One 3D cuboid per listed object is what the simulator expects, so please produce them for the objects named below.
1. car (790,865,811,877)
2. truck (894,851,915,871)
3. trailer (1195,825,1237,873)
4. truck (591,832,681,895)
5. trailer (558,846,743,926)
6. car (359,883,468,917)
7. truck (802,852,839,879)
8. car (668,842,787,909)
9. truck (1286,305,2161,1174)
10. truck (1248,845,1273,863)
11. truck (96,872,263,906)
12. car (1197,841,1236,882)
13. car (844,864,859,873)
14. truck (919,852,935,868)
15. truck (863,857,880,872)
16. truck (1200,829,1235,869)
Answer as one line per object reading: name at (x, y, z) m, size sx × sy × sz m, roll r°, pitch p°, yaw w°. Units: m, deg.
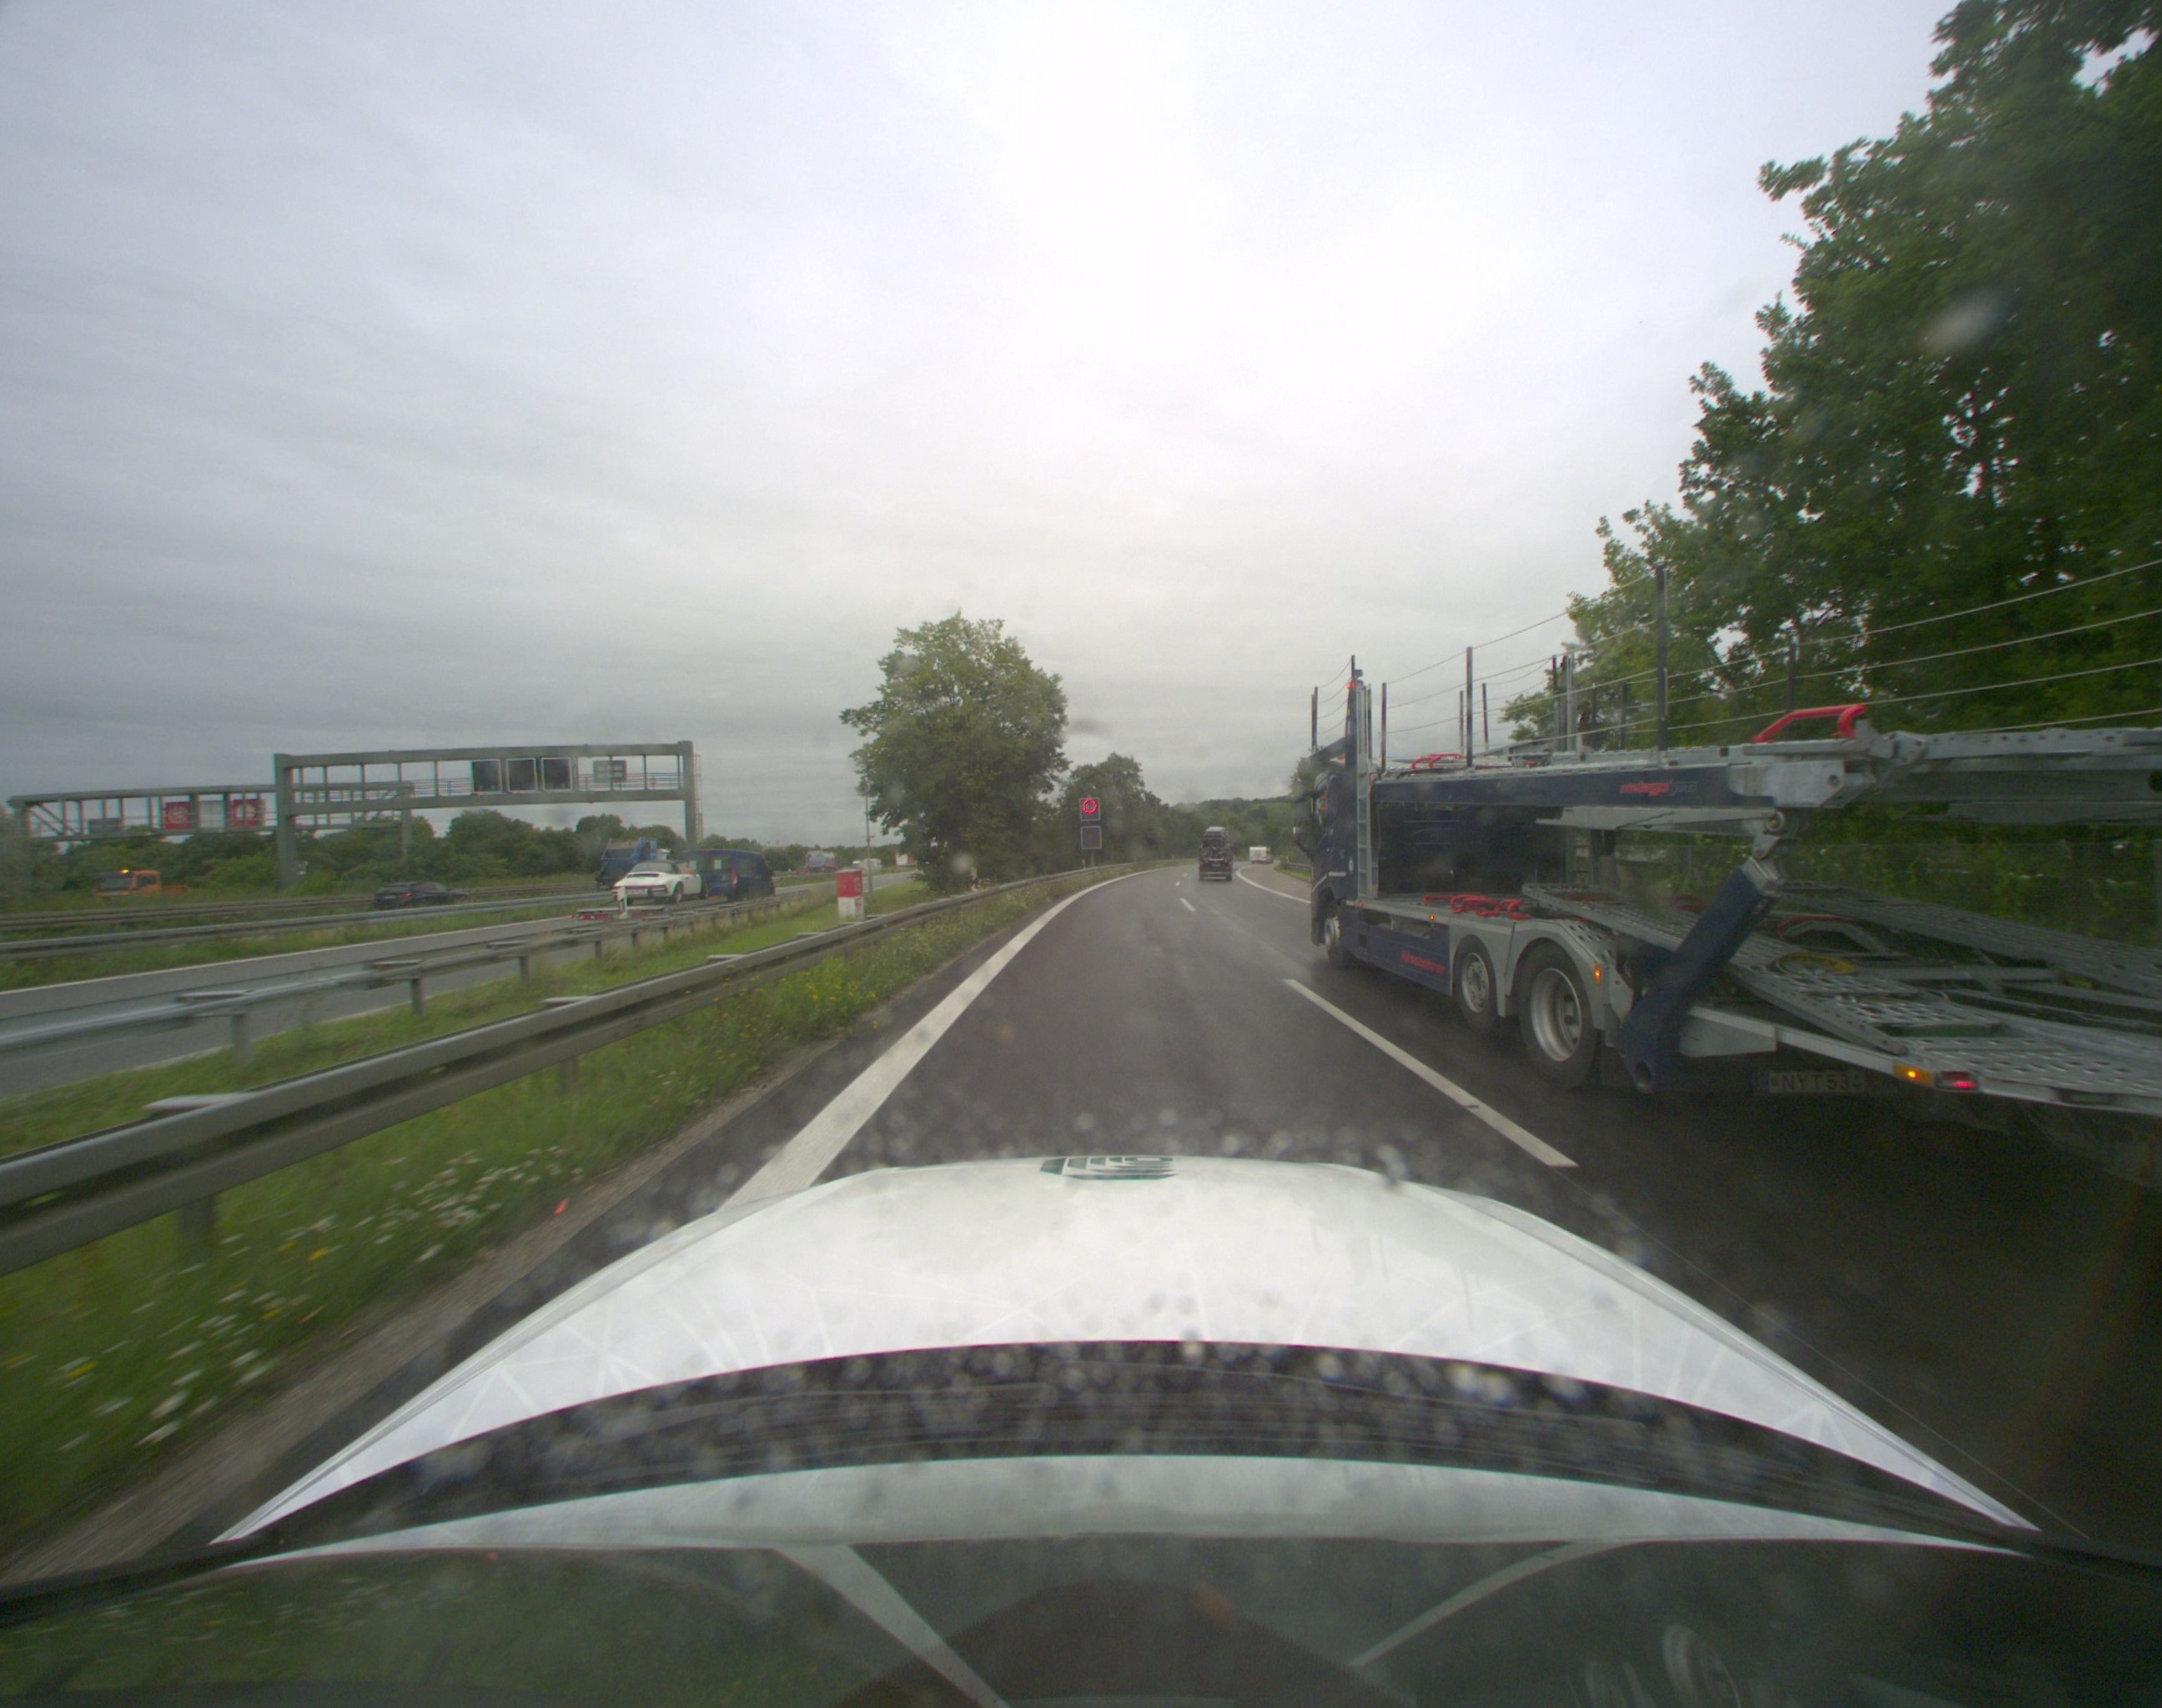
car at (-38.832, 2.330, 112.744) m, size 1.807 × 1.574 × 3.992 m, roll -1°, pitch -1°, yaw -6°
truck at (-40.977, 1.581, 189.311) m, size 3.728 × 4.417 × 10.173 m, roll -1°, pitch 0°, yaw -6°
trailer at (12.433, -0.451, 74.691) m, size 3.428 × 3.999 × 12.060 m, roll 1°, pitch 0°, yaw 10°
truck at (-29.129, 0.659, 53.722) m, size 2.635 × 3.812 × 7.325 m, roll -1°, pitch -1°, yaw -7°
trailer at (-12.584, 0.846, 24.592) m, size 2.482 × 1.994 × 7.047 m, roll -1°, pitch 0°, yaw -6°
car at (-32.243, 2.194, 39.549) m, size 1.802 × 1.391 × 4.763 m, roll -1°, pitch -1°, yaw -7°
truck at (-34.341, 1.470, 107.749) m, size 2.853 × 3.365 × 8.612 m, roll -2°, pitch 0°, yaw -6°
car at (-13.314, 0.758, 31.180) m, size 2.370 × 2.266 × 6.242 m, roll -1°, pitch 0°, yaw -6°
truck at (4.439, -0.525, 8.313) m, size 2.728 × 3.968 × 9.134 m, roll -1°, pitch 0°, yaw 2°
truck at (27.581, 0.032, 125.066) m, size 2.625 × 2.605 × 6.454 m, roll -2°, pitch 0°, yaw 22°
truck at (-60.862, 2.271, 55.385) m, size 1.990 × 2.014 × 8.801 m, roll -1°, pitch -1°, yaw -4°
car at (8.041, 0.421, 48.467) m, size 2.097 × 2.264 × 5.911 m, roll -2°, pitch 0°, yaw 9°
car at (-41.609, 2.703, 147.616) m, size 1.883 × 1.574 × 3.992 m, roll -1°, pitch -1°, yaw -6°
truck at (-45.043, 1.744, 238.581) m, size 3.728 × 4.417 × 11.871 m, roll -1°, pitch 0°, yaw -6°
truck at (-37.700, 1.872, 146.737) m, size 2.240 × 2.704 × 5.268 m, roll -1°, pitch 0°, yaw -6°
truck at (14.416, -0.526, 86.029) m, size 3.374 × 3.999 × 10.877 m, roll 1°, pitch 0°, yaw 10°
